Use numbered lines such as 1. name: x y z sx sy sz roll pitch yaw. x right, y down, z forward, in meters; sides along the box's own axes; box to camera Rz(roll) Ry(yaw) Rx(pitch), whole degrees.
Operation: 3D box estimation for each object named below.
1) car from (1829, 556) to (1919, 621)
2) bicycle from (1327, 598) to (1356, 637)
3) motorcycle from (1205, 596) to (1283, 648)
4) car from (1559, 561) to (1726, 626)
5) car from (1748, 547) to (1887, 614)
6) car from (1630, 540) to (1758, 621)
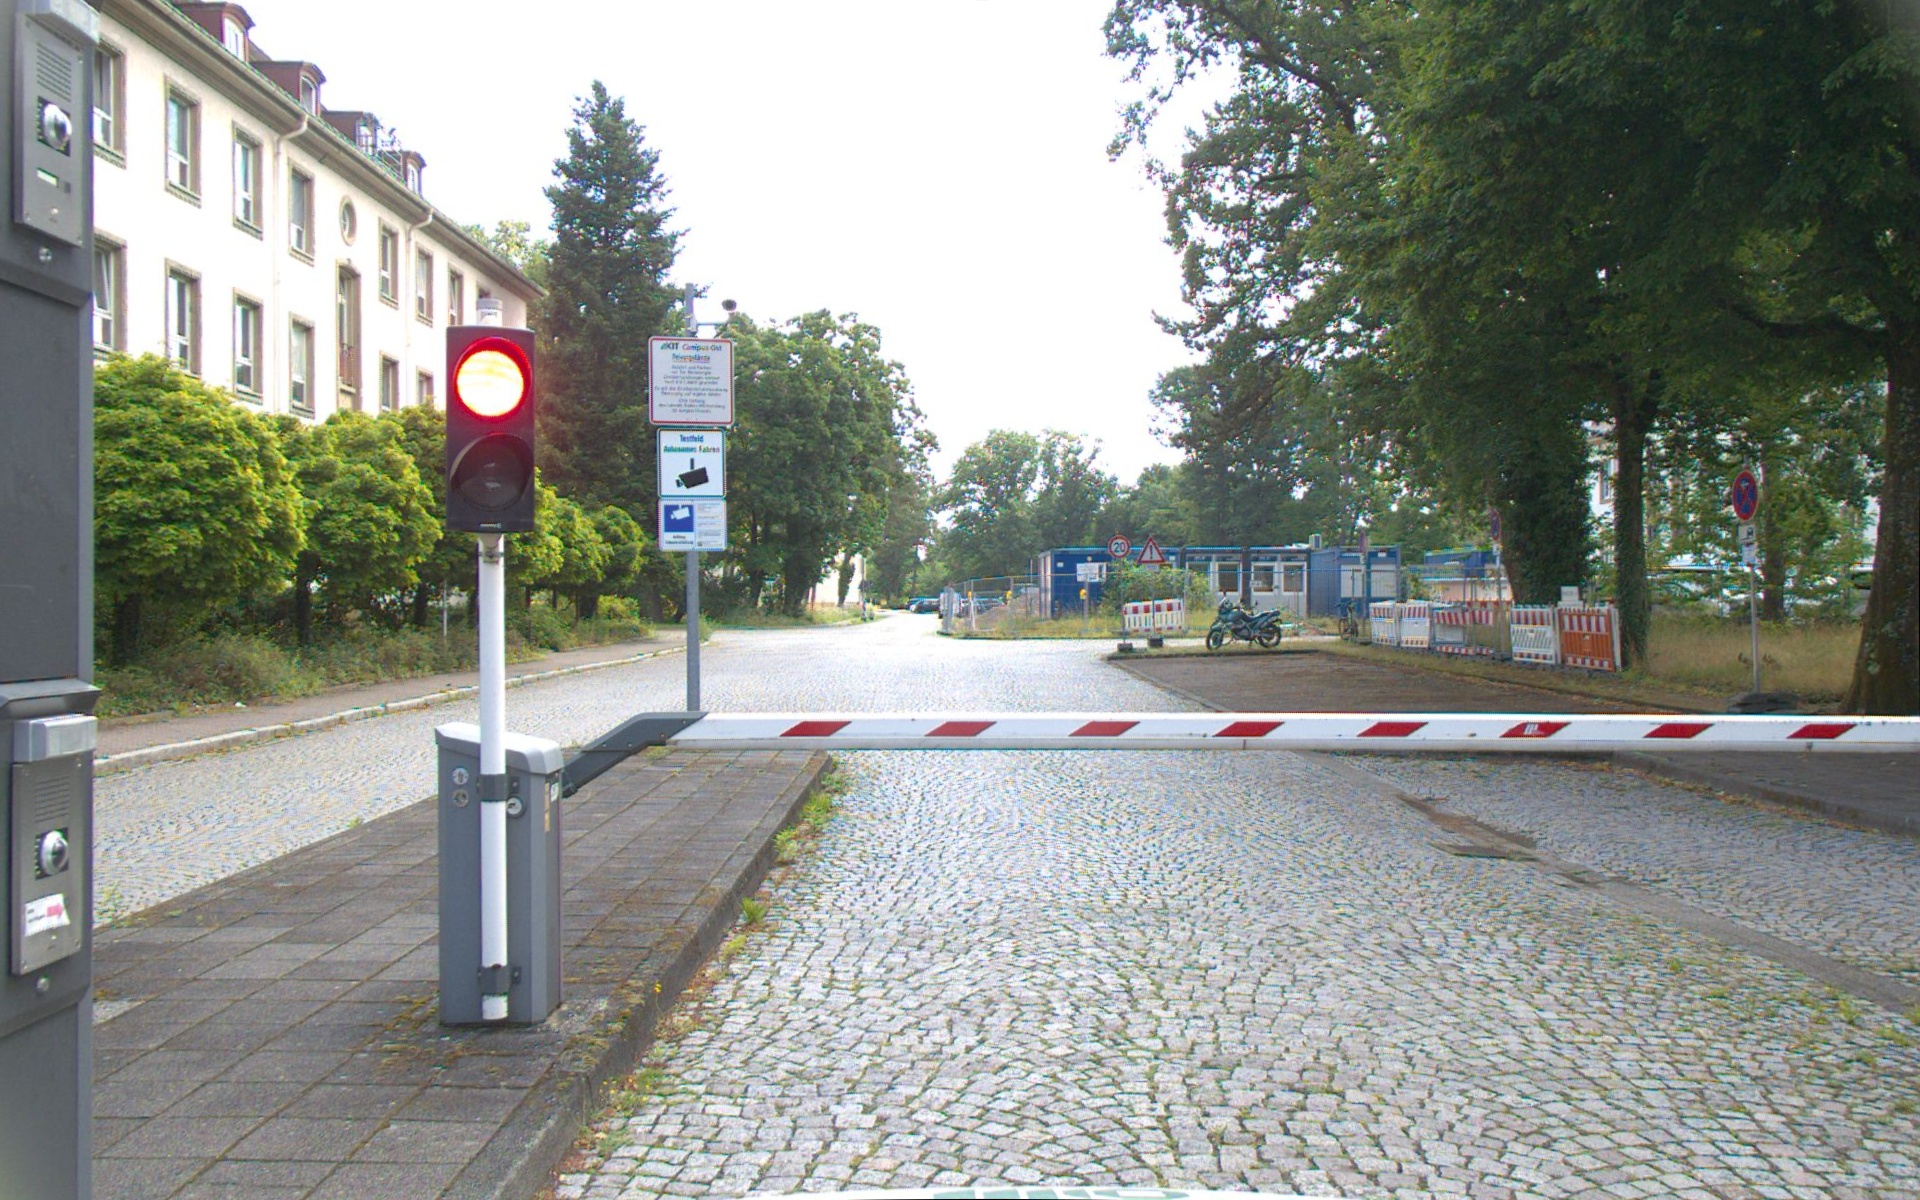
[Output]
1. car: 25.891 -0.310 43.821 1.971 1.679 4.795 0 -1 -28
2. bicycle: 10.241 0.484 44.464 0.325 1.025 1.725 -1 -2 -1
3. motorcycle: 7.361 0.570 42.864 1.917 1.215 0.461 -2 5 -2
4. car: 20.289 -0.172 49.294 4.132 1.852 2.000 0 -1 1
5. car: 27.893 -0.624 53.975 1.953 2.049 4.839 -1 0 -1
6. car: 23.710 -0.563 53.647 1.952 2.466 5.358 0 -1 3
